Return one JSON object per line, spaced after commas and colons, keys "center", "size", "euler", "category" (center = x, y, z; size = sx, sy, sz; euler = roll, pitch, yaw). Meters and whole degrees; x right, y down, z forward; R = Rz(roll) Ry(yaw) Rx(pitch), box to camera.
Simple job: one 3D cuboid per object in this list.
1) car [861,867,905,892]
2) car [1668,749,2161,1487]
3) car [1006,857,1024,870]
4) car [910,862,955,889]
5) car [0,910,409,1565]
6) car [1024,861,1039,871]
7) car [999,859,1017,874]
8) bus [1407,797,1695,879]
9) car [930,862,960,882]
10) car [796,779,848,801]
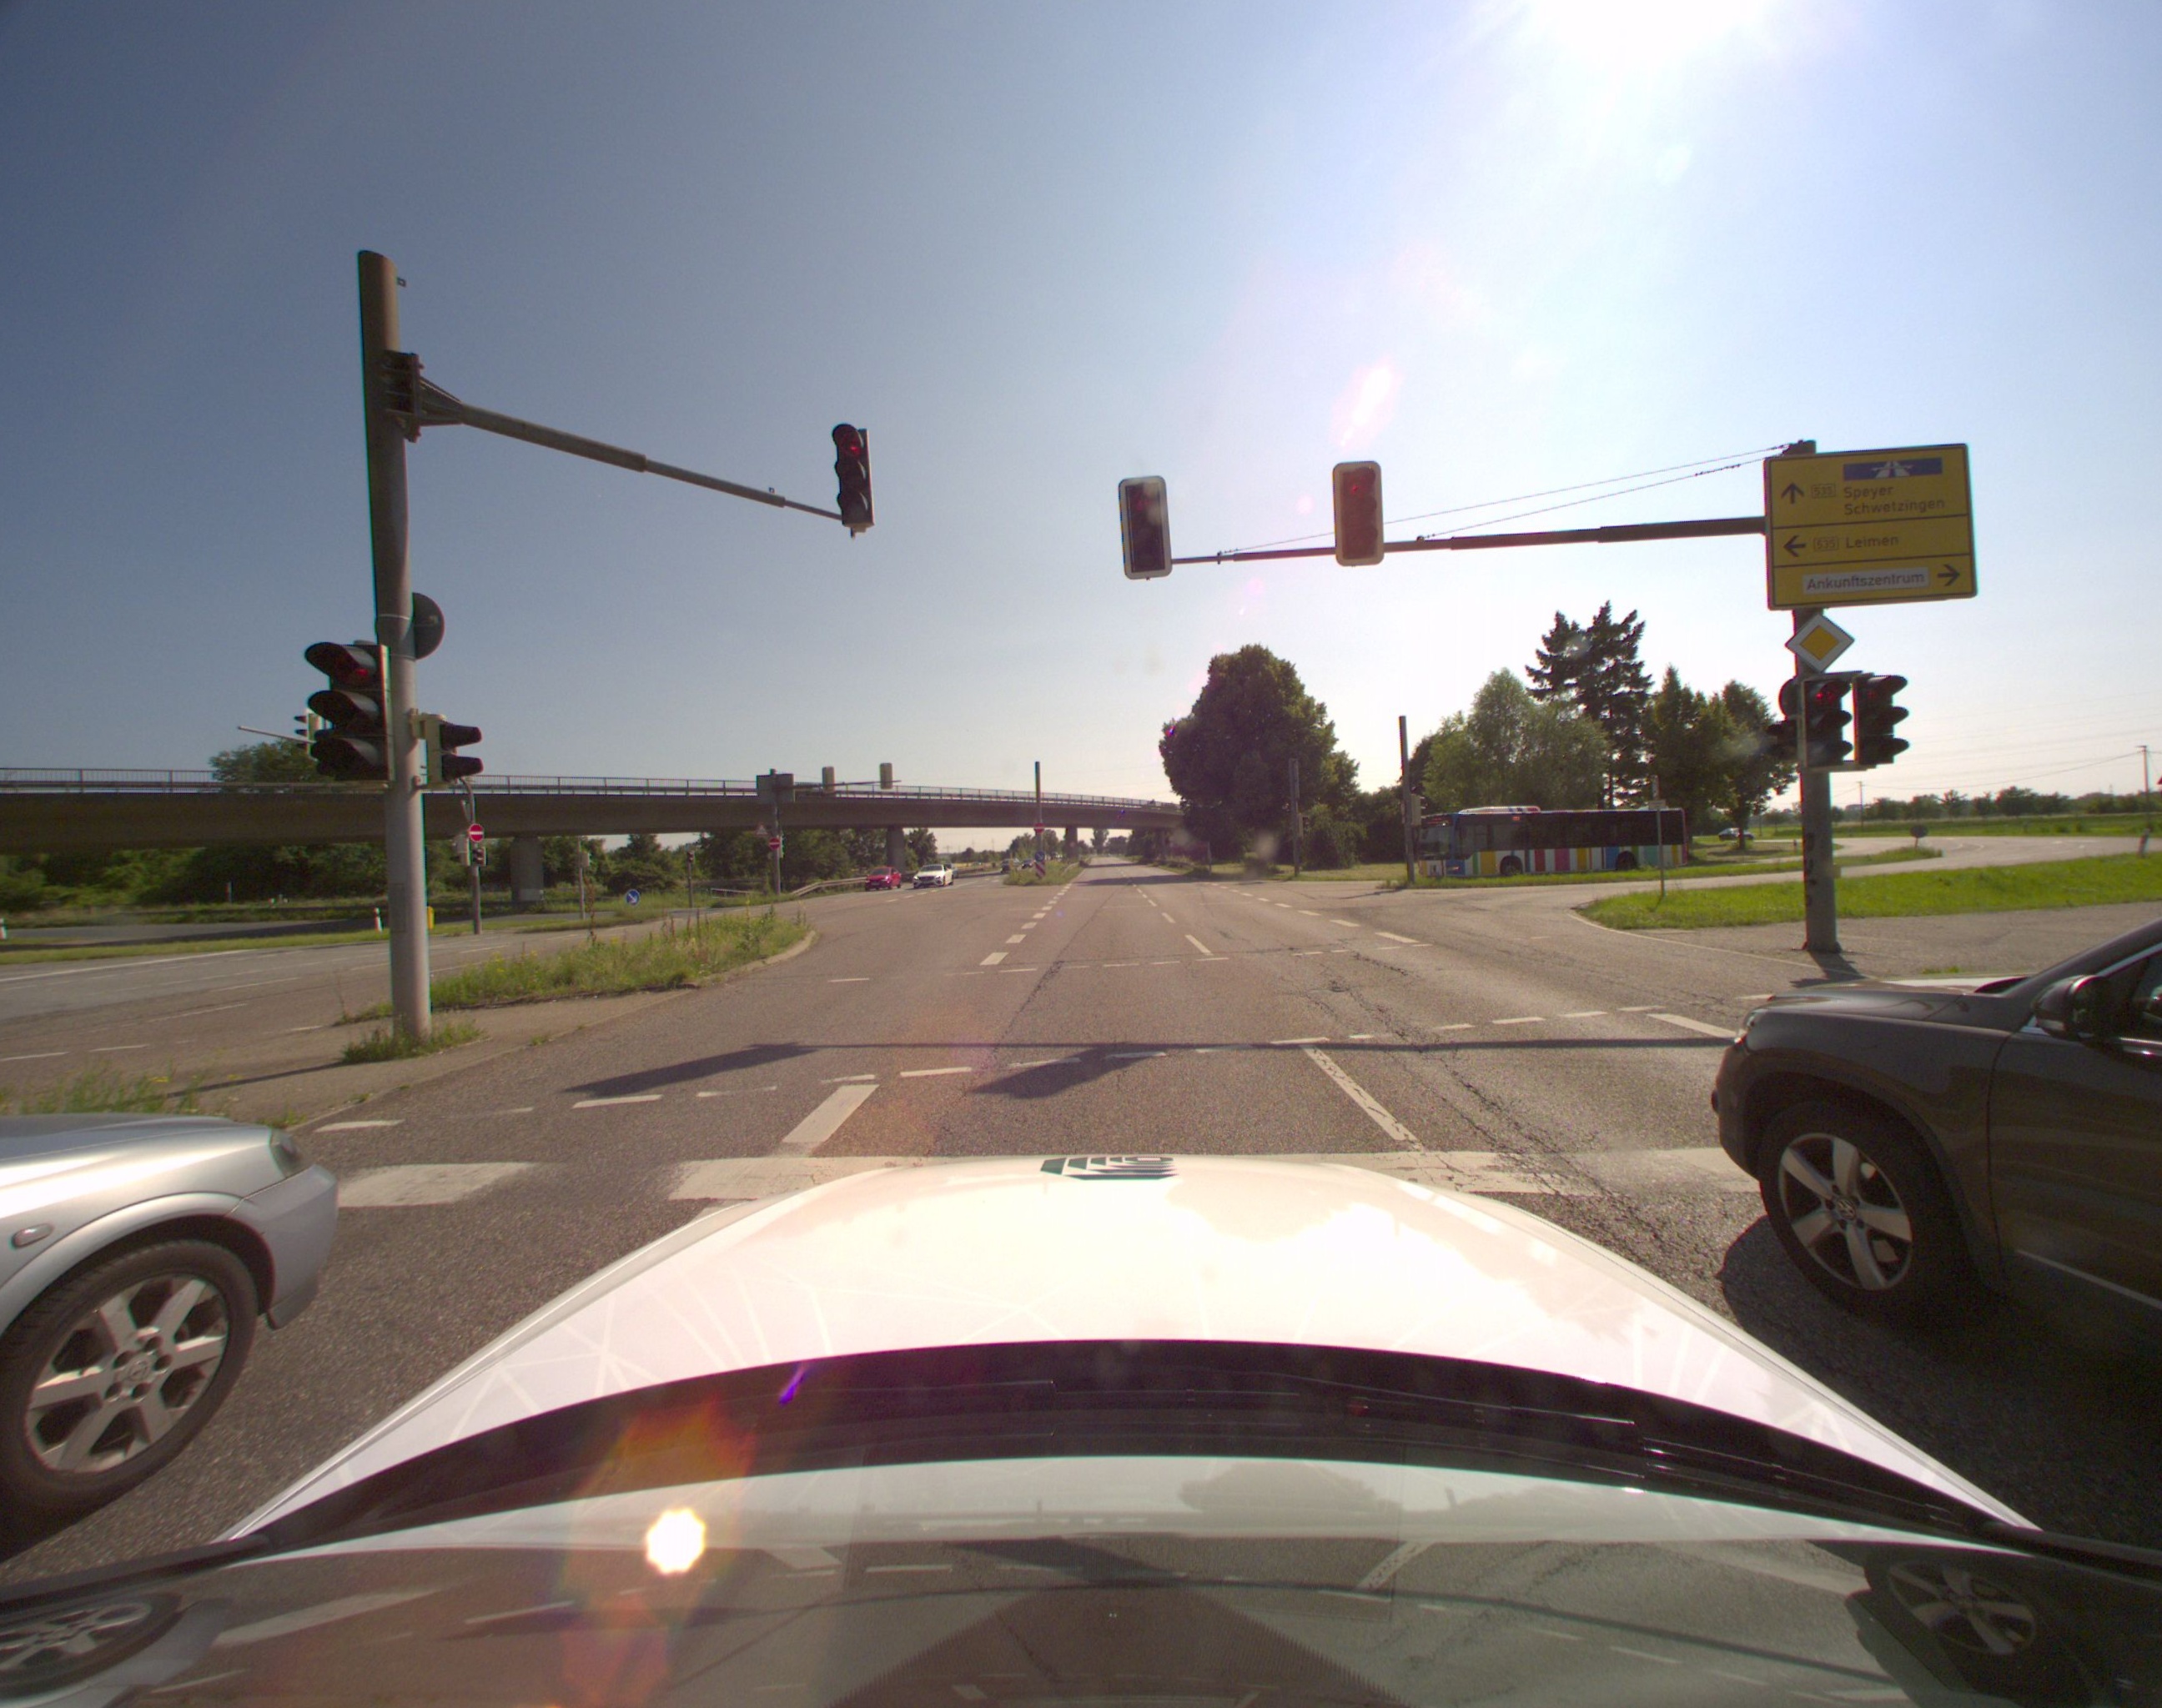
{"center": [-12.673, 1.588, 52.324], "size": [1.634, 1.385, 4.241], "euler": [-3, 0, 1], "category": "car"}
{"center": [3.281, 0.583, 1.305], "size": [1.749, 1.655, 4.147], "euler": [-1, 0, 1], "category": "car"}
{"center": [-11.913, 1.707, 146.794], "size": [1.979, 2.013, 4.015], "euler": [-3, 0, 13], "category": "car"}
{"center": [-9.217, 1.287, 51.011], "size": [1.850, 1.448, 4.241], "euler": [-5, 0, 1], "category": "car"}
{"center": [-3.221, 0.898, 0.735], "size": [1.667, 1.335, 4.100], "euler": [-3, 0, 2], "category": "car"}
{"center": [-6.737, 1.597, 111.561], "size": [1.551, 1.259, 4.001], "euler": [-3, 0, 2], "category": "car"}
{"center": [-8.486, 1.458, 95.204], "size": [1.551, 1.540, 4.001], "euler": [-3, 0, 2], "category": "car"}
{"center": [20.222, -0.711, 35.045], "size": [11.954, 2.877, 2.928], "euler": [-3, 0, -14], "category": "bus"}
{"center": [-11.823, 1.558, 71.071], "size": [1.784, 1.628, 4.000], "euler": [-3, 0, 1], "category": "car"}
{"center": [-19.773, -4.870, 62.291], "size": [1.521, 1.477, 3.413], "euler": [-5, -1, 38], "category": "car"}
